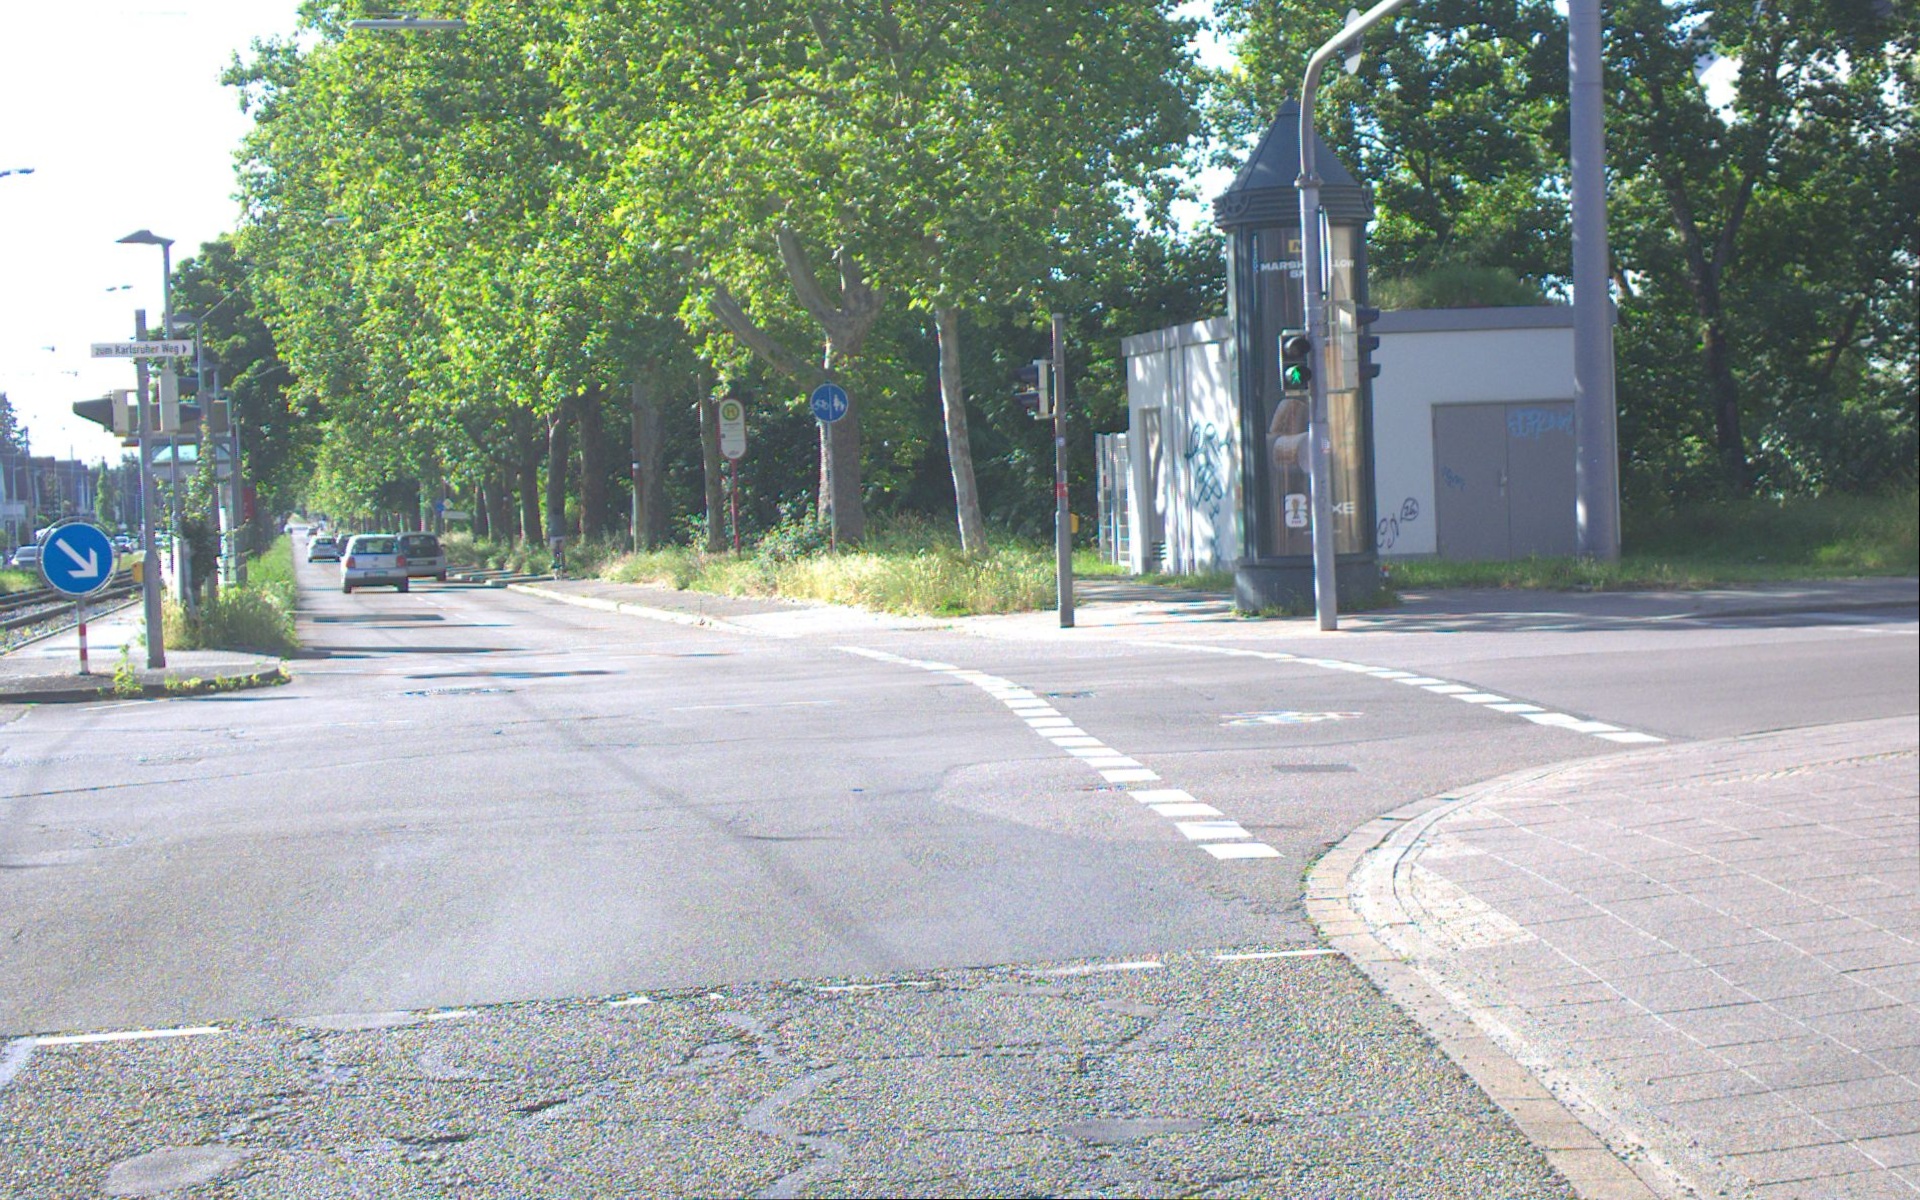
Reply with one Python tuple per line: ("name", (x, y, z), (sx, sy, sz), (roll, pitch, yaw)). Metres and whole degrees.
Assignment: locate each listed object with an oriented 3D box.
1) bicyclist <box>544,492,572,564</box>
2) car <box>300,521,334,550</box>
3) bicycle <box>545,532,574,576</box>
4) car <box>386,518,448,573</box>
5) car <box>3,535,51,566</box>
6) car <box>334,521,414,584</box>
("bicyclist", (-10.003, -1.785, 85.544), (0.534, 1.763, 0.713), (-3, 1, -13))
("car", (-37.105, -3.725, 198.331), (1.750, 1.599, 3.582), (-3, 2, -12))
("bicycle", (-9.965, -1.154, 85.512), (0.536, 1.062, 1.434), (-3, 2, -13))
("car", (-16.765, -1.697, 106.073), (1.750, 1.599, 3.751), (-2, 2, -11))
("car", (-46.246, -2.457, 170.467), (1.993, 1.464, 4.378), (-2, 1, -12))
("car", (-14.577, -1.191, 85.456), (1.867, 1.481, 3.556), (-2, 1, -11))
